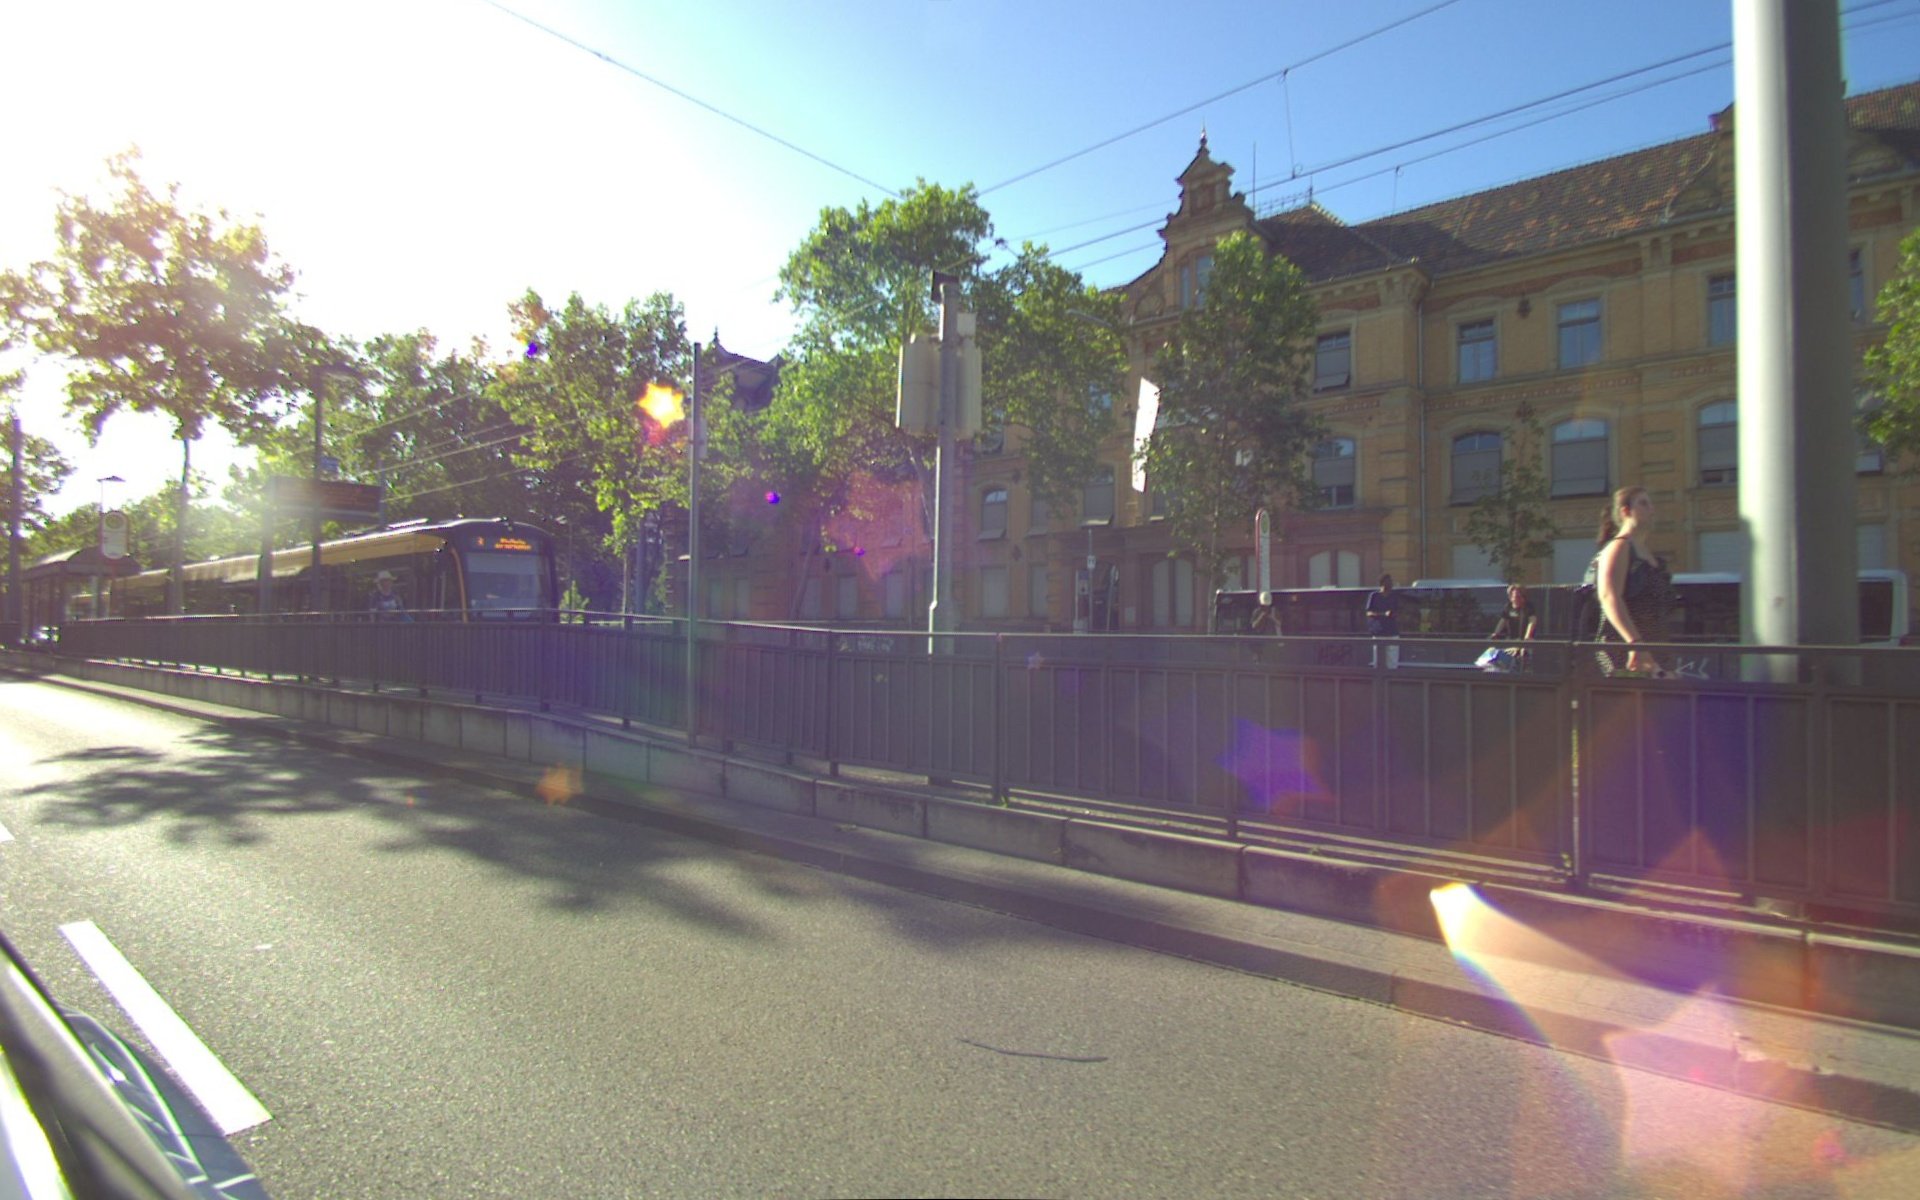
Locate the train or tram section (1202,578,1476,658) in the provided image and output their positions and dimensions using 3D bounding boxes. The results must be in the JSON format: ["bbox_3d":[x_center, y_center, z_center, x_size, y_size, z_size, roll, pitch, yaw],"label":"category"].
[{"bbox_3d":[12.243,0.633,33.317,8.074,2.346,2.616,-2,-2,42],"label":"train or tram section"}]

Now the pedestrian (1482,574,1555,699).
[{"bbox_3d":[8.184,0.532,14.825,0.812,1.770,0.668,-2,-2,38],"label":"pedestrian"}]

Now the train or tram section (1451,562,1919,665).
[{"bbox_3d":[19.023,0.432,27.284,10.053,2.346,2.616,-2,-2,42],"label":"train or tram section"}]

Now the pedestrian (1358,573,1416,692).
[{"bbox_3d":[6.672,0.508,15.838,0.617,1.816,0.624,1,-3,0],"label":"pedestrian"}]

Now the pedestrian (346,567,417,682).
[{"bbox_3d":[-8.612,0.367,15.075,0.761,1.648,0.691,-2,-2,41],"label":"pedestrian"}]

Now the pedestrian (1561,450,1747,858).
[{"bbox_3d":[3.255,0.236,4.742,0.623,1.723,0.674,-2,-2,40],"label":"pedestrian"}]

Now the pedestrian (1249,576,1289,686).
[{"bbox_3d":[5.184,0.519,17.026,0.620,1.816,0.621,0,-3,16],"label":"pedestrian"}]

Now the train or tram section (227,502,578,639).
[{"bbox_3d":[-14.638,-0.372,25.245,15.668,2.584,2.536,-2,-2,41],"label":"train or tram section"}]

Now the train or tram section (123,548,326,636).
[{"bbox_3d":[-26.156,-0.049,35.428,15.066,2.551,2.536,-2,-2,41],"label":"train or tram section"}]
